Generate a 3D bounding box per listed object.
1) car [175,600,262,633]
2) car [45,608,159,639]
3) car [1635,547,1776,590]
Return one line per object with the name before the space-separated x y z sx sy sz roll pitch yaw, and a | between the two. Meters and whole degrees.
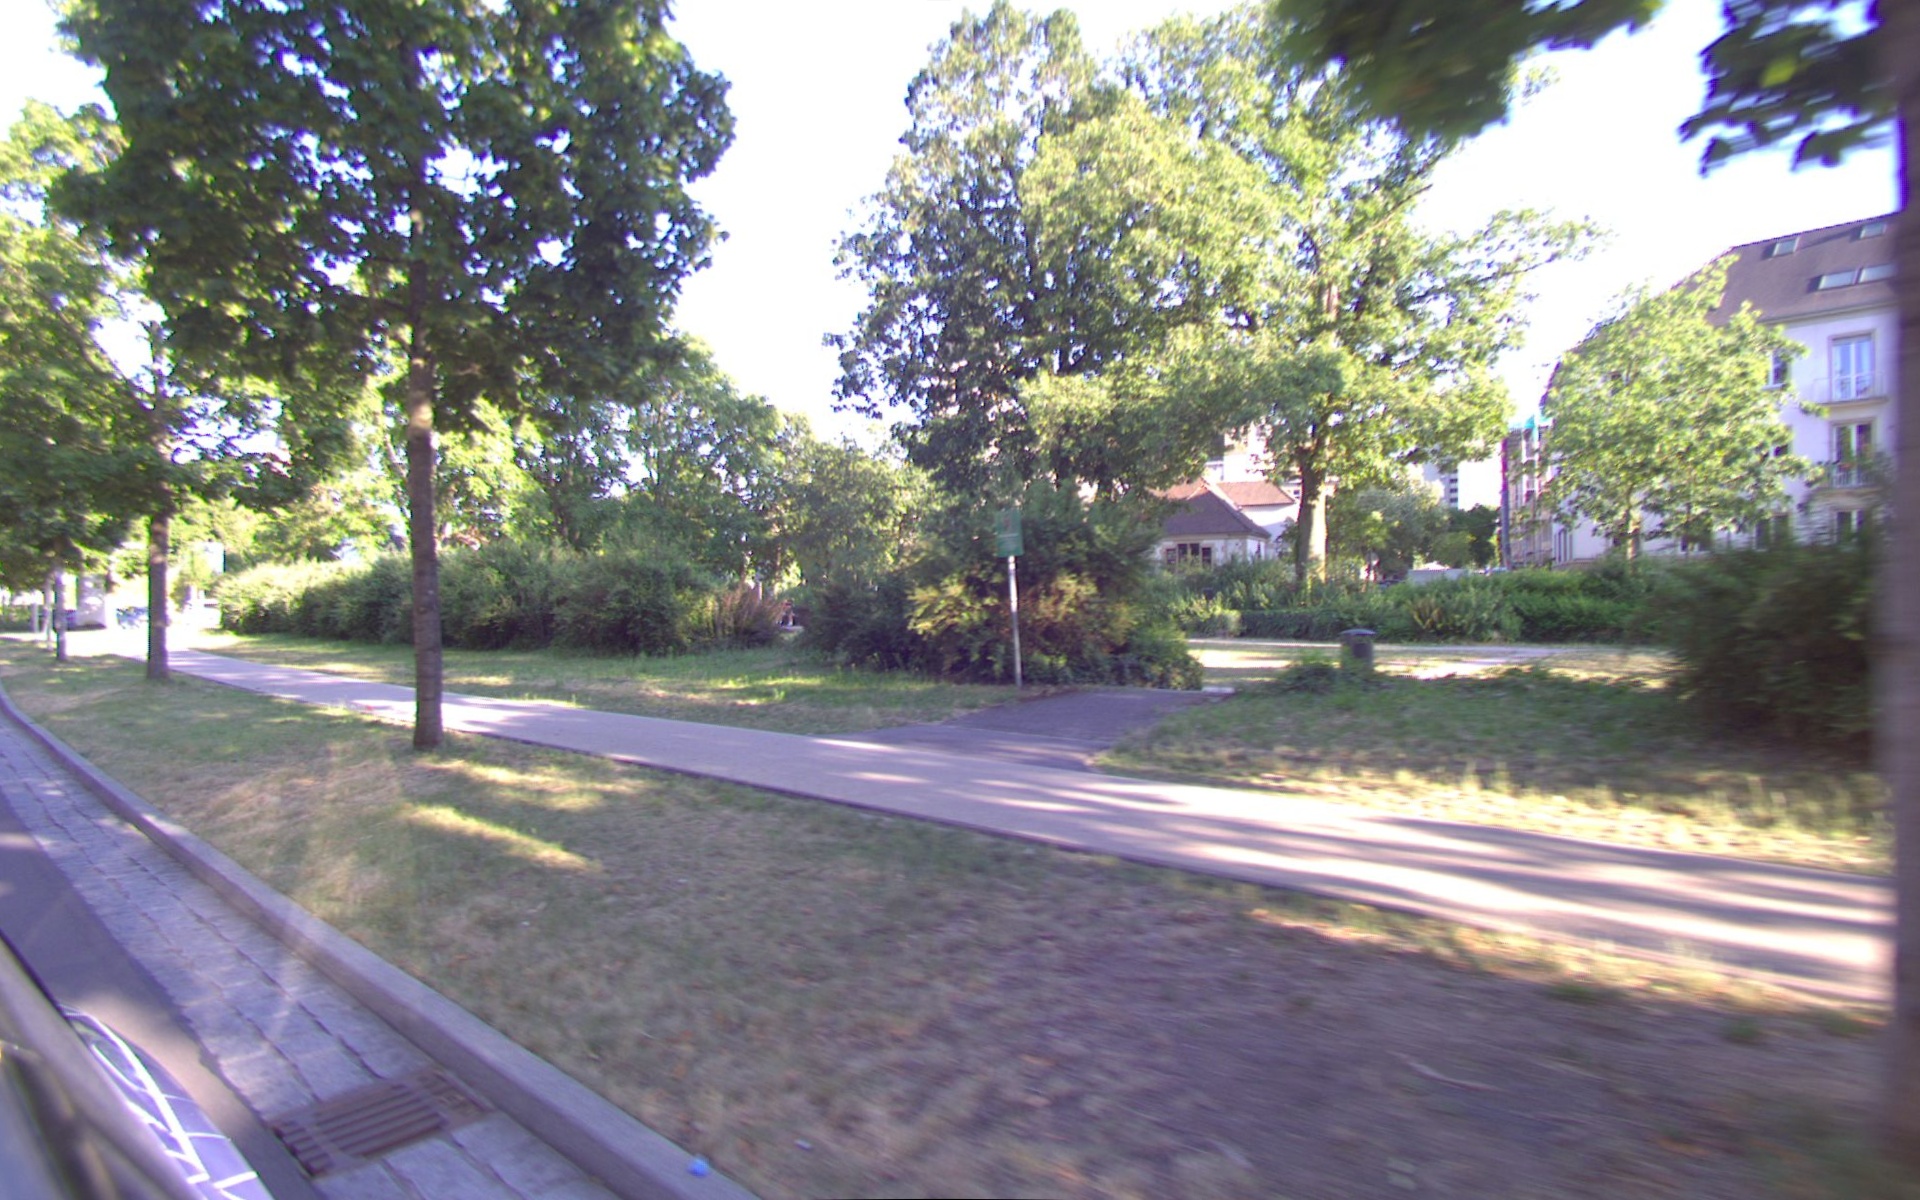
car | -47.869 1.047 65.403 1.754 1.930 4.199 -1 1 27
car | -50.491 1.346 59.649 1.859 1.570 4.794 -1 1 27
car | 29.620 -1.234 40.310 1.908 1.593 4.222 -2 2 -42
